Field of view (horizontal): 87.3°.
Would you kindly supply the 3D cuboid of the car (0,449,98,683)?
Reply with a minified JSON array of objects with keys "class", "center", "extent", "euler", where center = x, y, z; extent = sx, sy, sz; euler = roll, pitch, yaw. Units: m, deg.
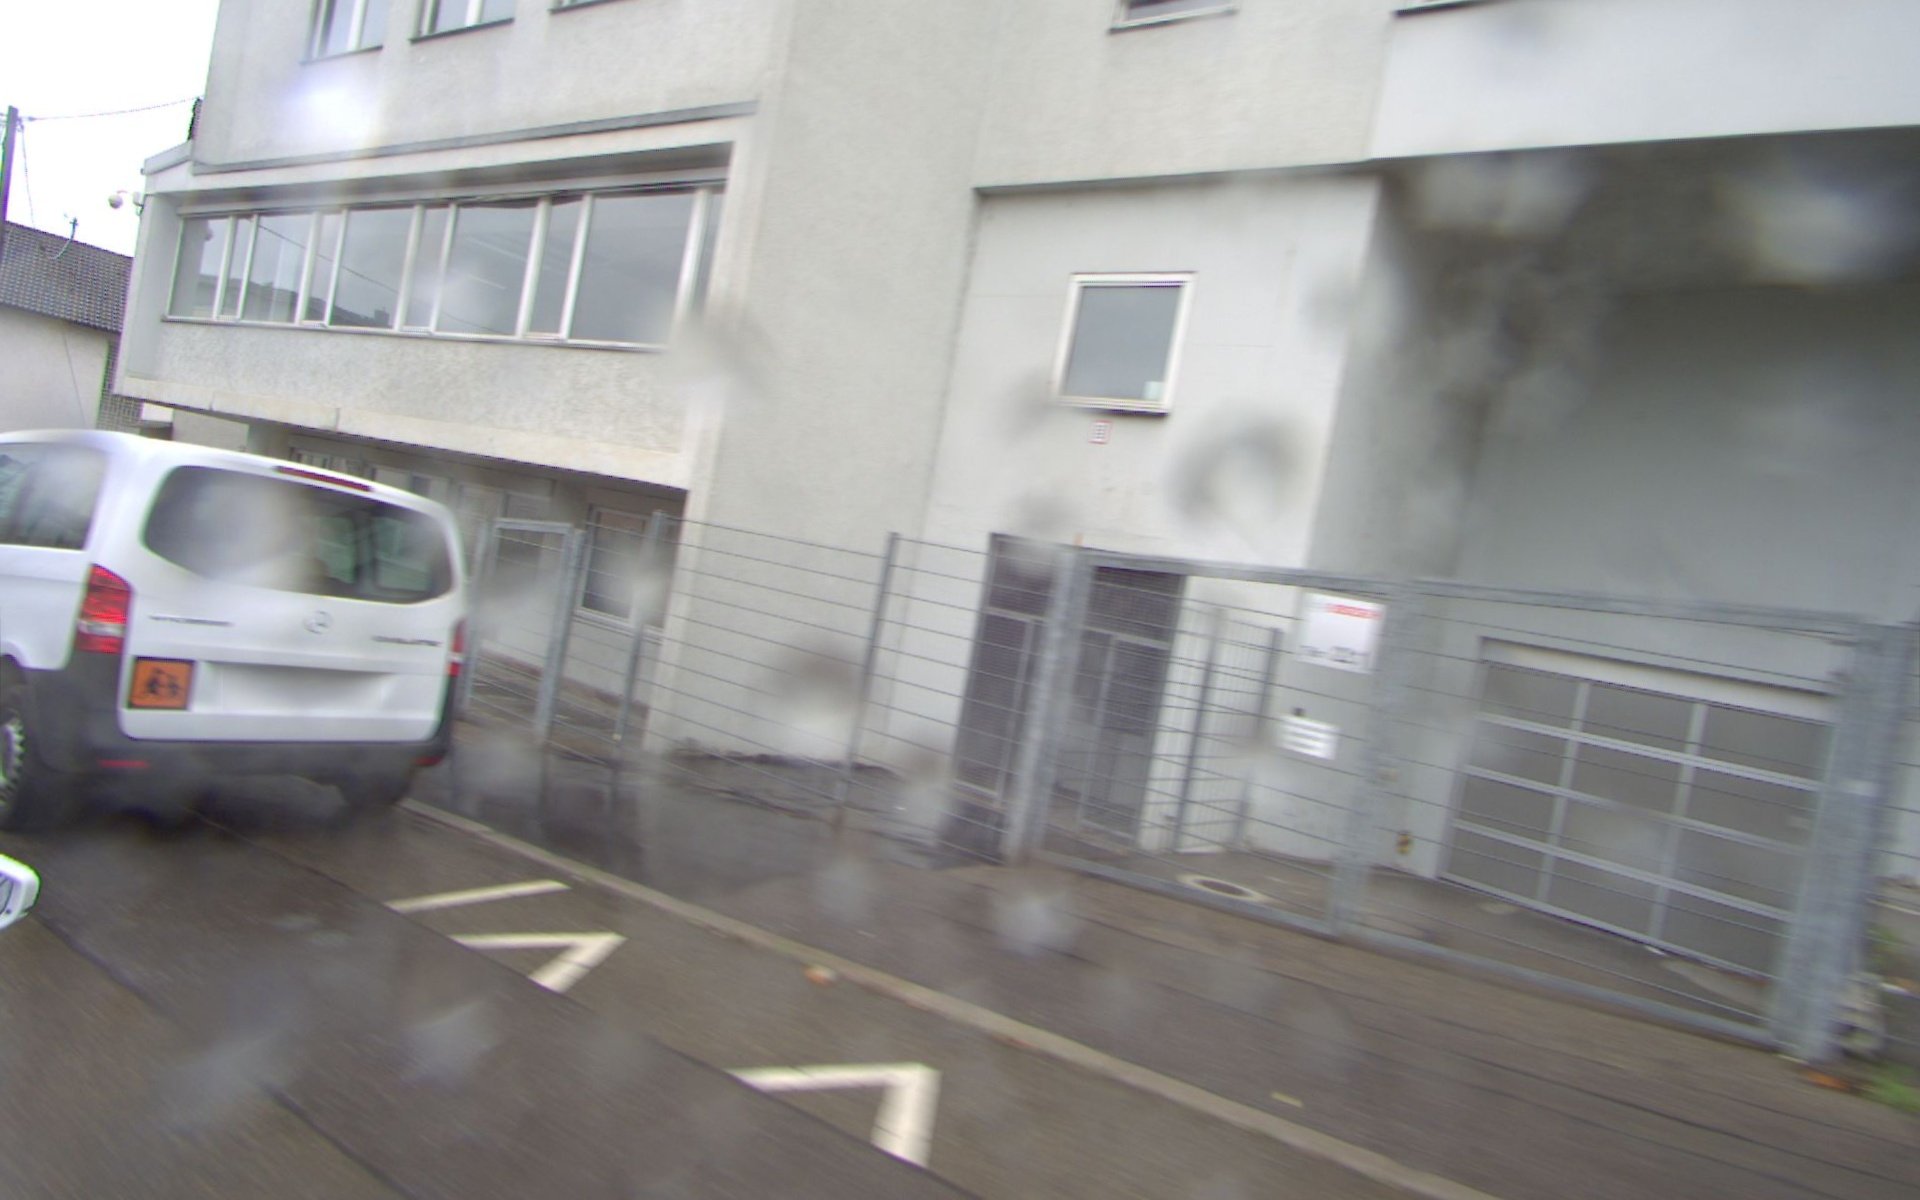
[{"class":"car","center":[-9.761,-0.546,8.904],"extent":[4.415,1.855,1.881],"euler":[7,-1,32]}]

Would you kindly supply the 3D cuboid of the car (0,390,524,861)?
[{"class":"car","center":[-5.228,-0.064,6.301],"extent":[4.894,1.958,1.997],"euler":[7,-1,32]}]
